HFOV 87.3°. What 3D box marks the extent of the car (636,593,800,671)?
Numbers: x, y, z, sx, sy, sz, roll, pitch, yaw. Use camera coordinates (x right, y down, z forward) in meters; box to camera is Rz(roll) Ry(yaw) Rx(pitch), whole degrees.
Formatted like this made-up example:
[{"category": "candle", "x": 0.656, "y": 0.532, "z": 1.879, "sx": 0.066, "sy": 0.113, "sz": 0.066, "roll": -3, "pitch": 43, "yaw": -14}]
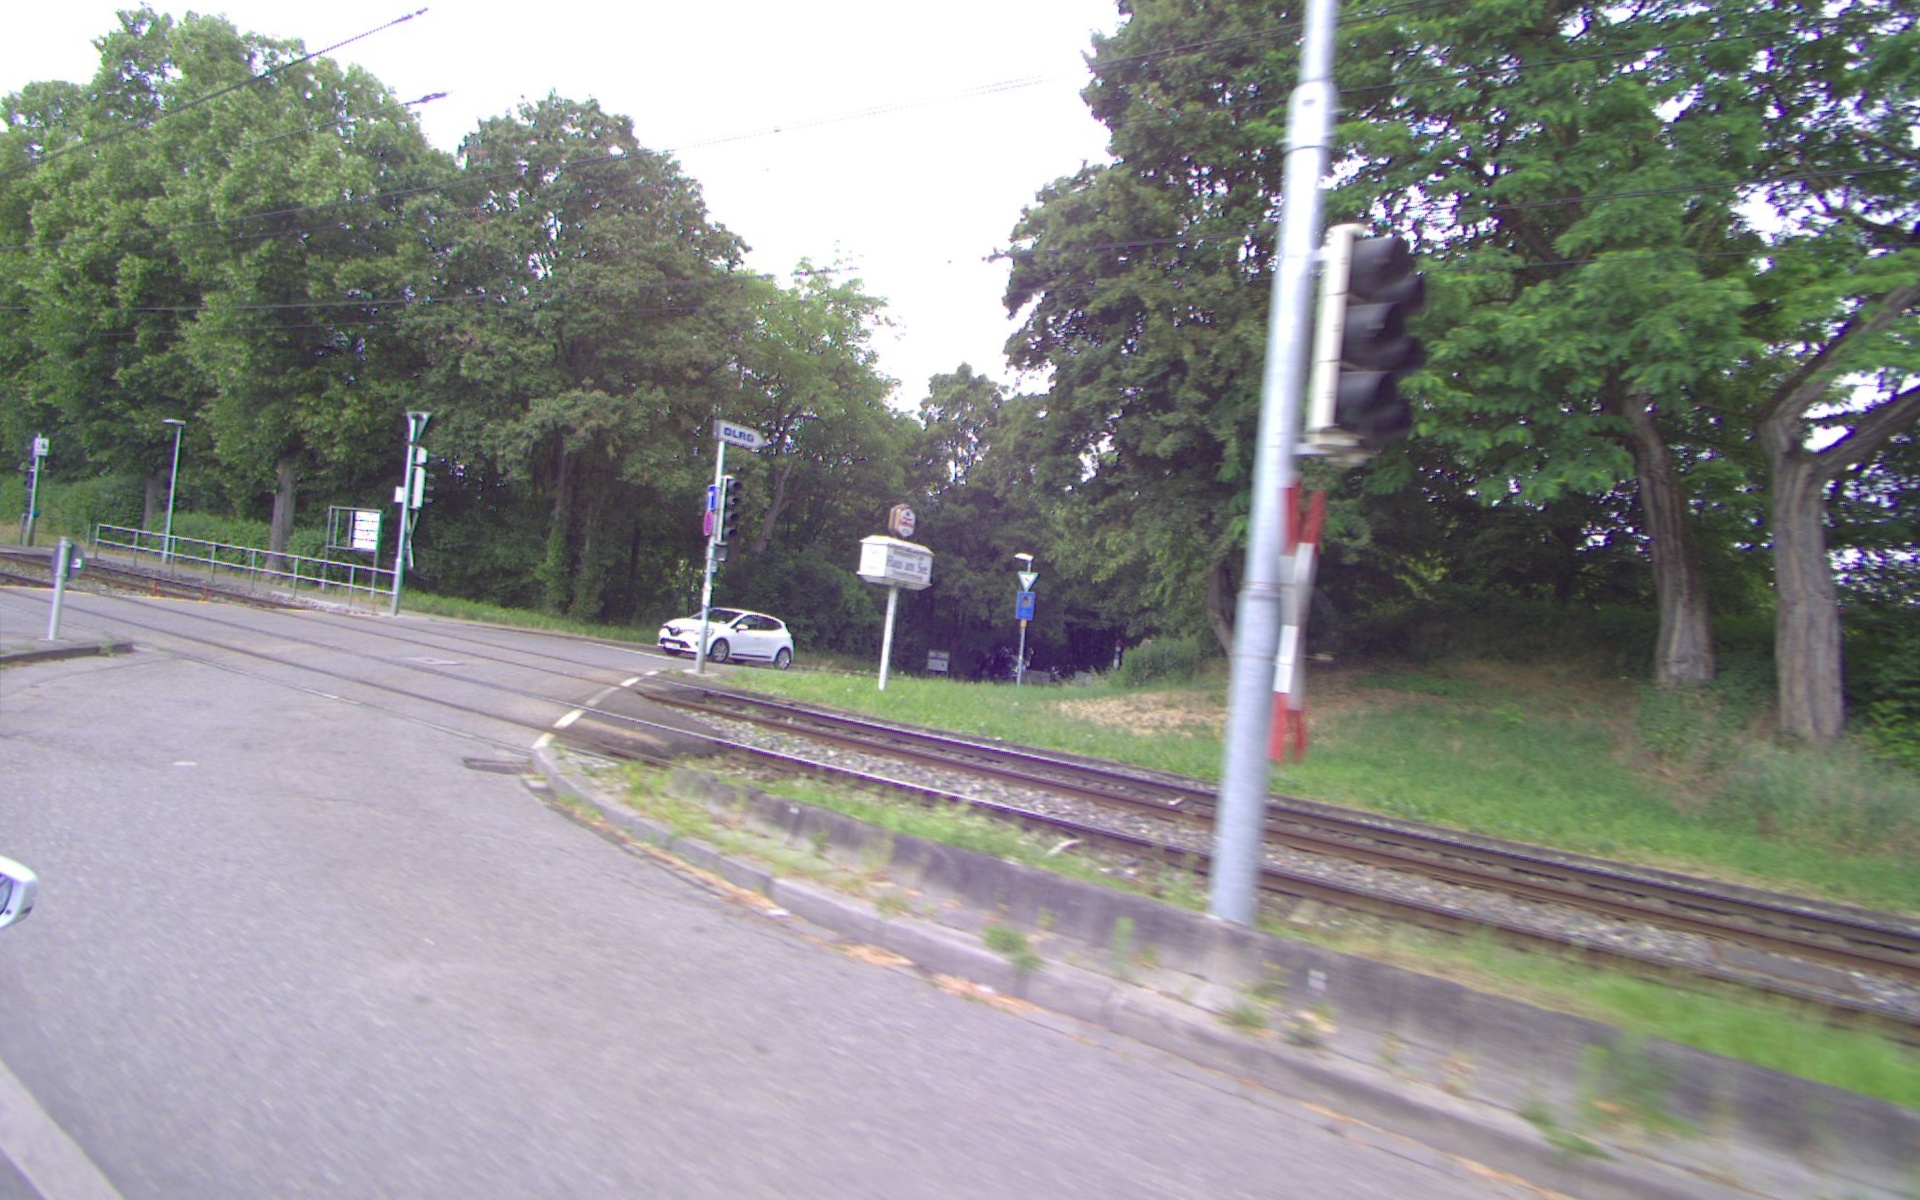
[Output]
[{"category": "car", "x": -6.240, "y": 0.886, "z": 26.417, "sx": 1.965, "sy": 1.368, "sz": 4.005, "roll": 7, "pitch": -5, "yaw": 26}]
